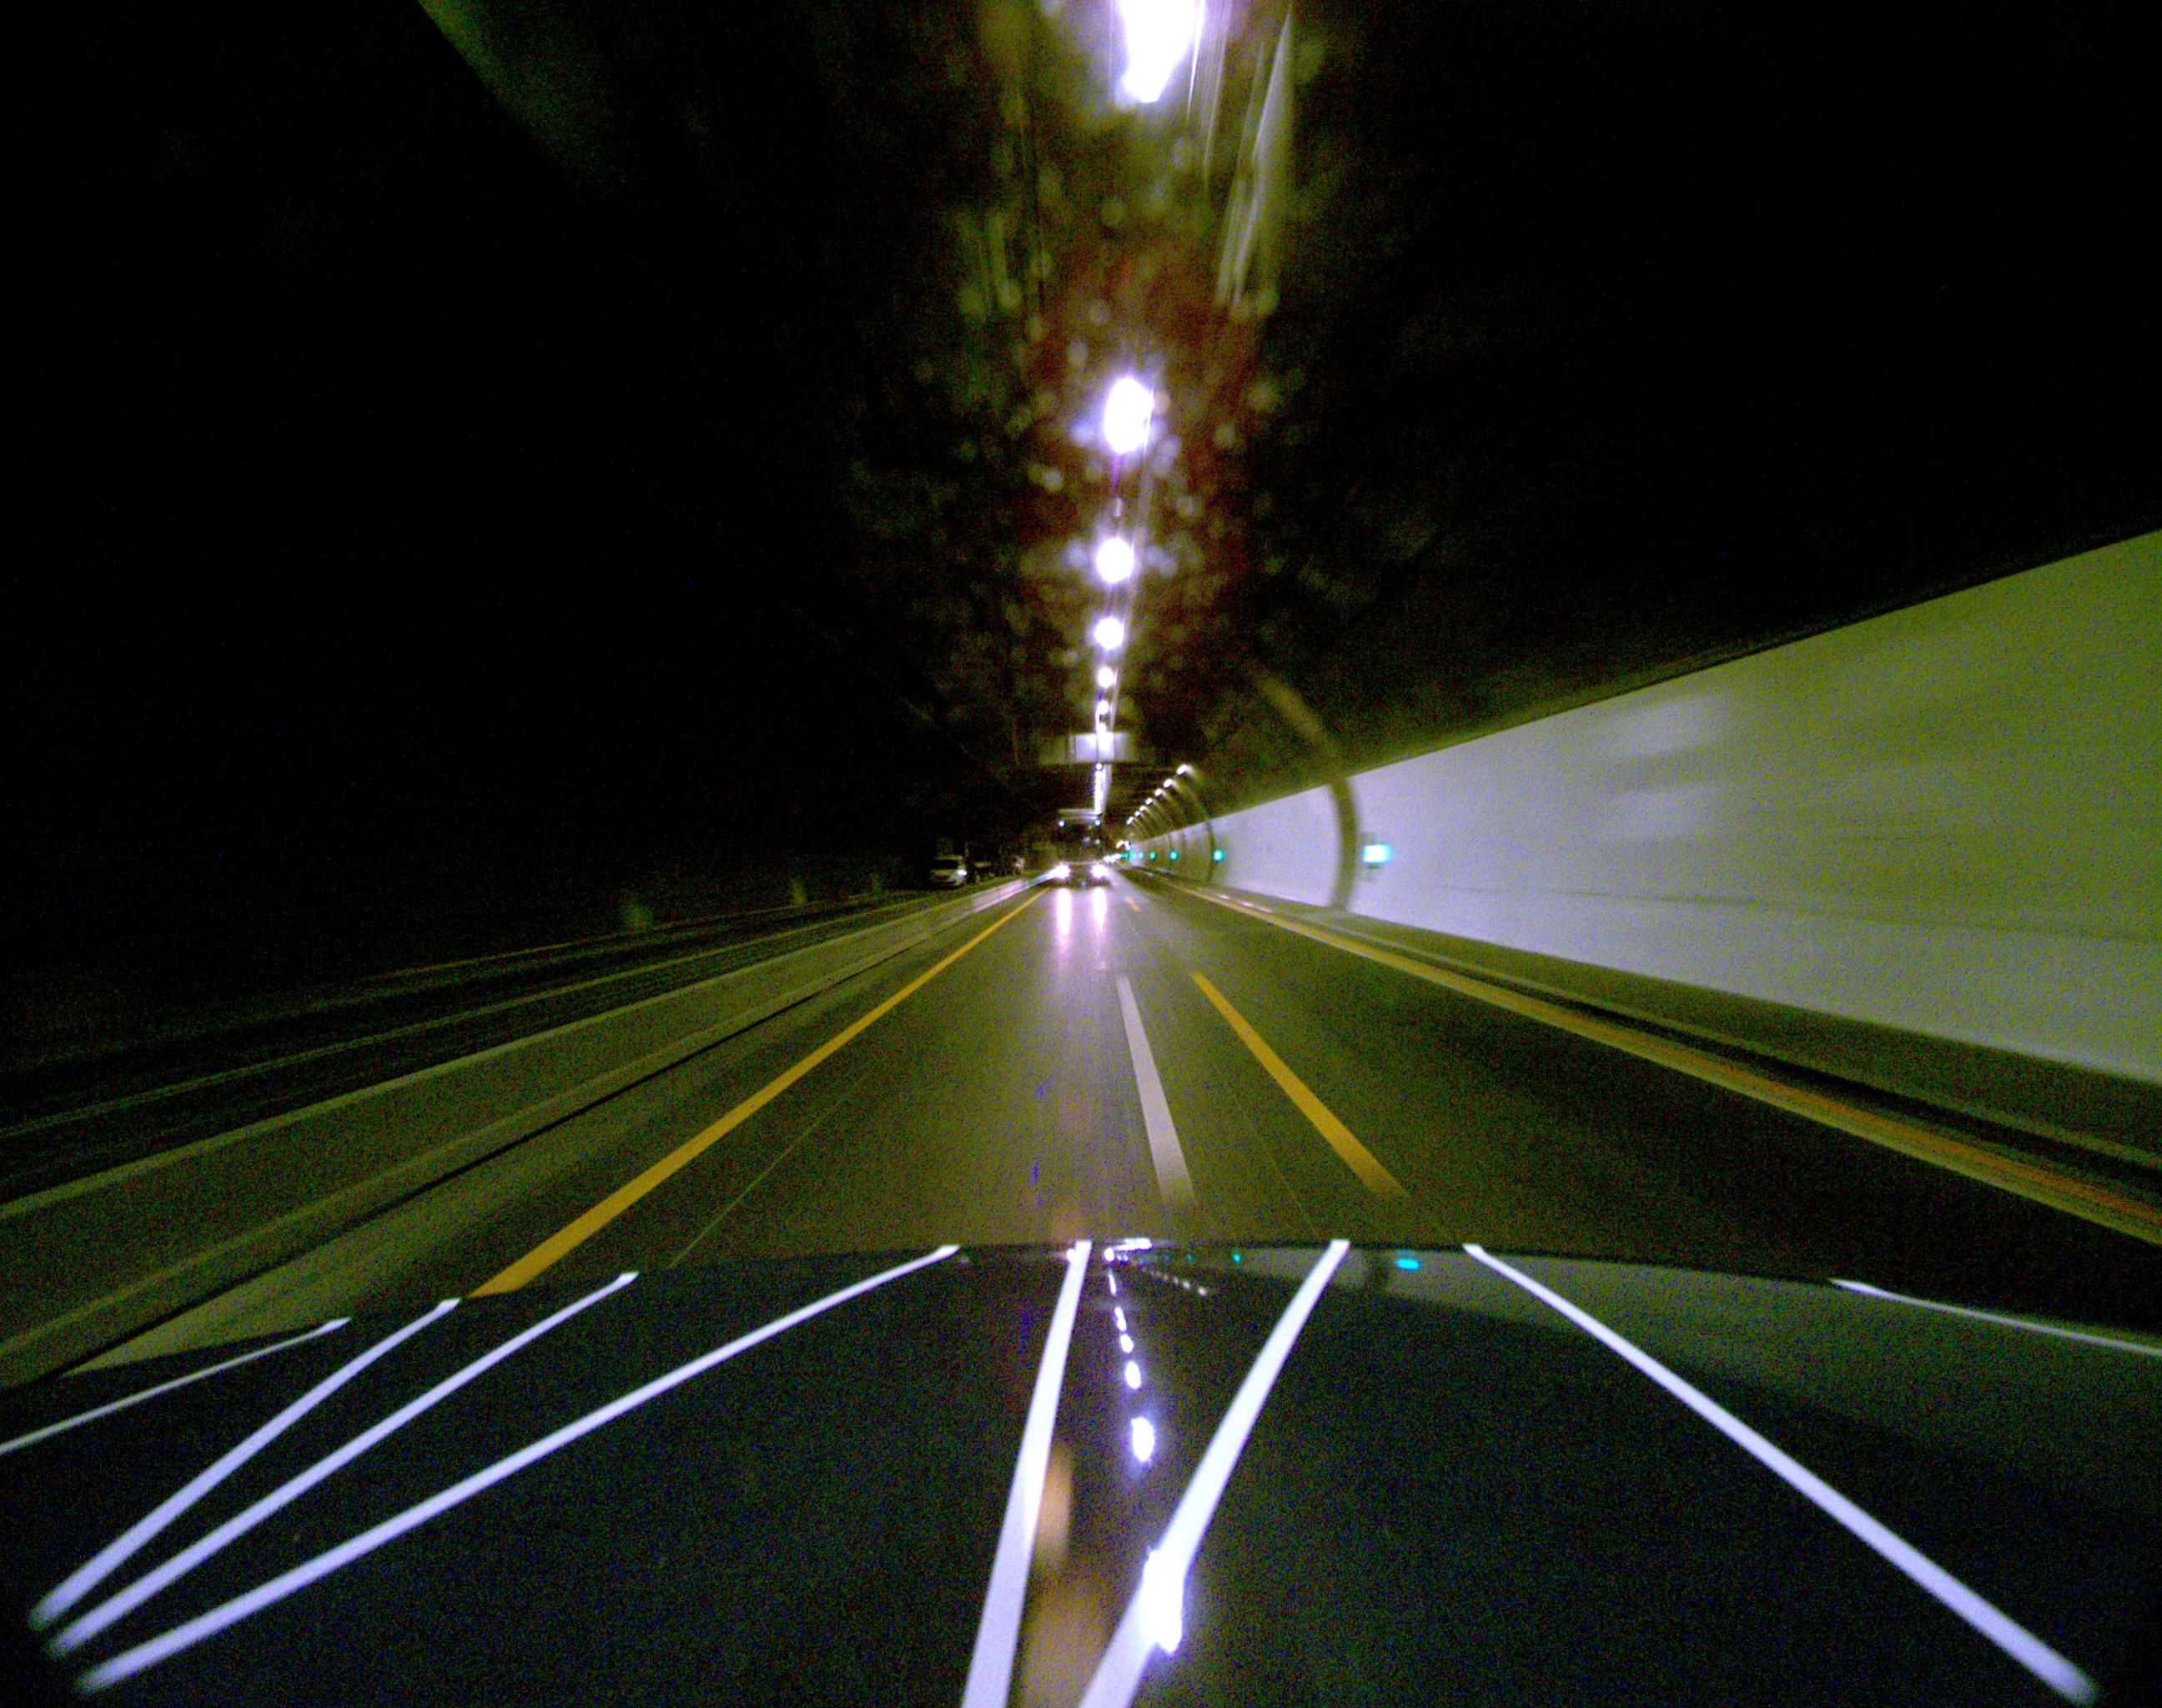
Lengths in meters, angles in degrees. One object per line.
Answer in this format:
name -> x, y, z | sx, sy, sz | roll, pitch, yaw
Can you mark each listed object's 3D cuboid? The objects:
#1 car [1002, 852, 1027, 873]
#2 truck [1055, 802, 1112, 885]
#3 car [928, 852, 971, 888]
car -> -6.311, 0.741, 72.494 | 1.832, 1.848, 5.441 | -3, 0, 0
truck -> 0.215, -0.575, 42.827 | 2.769, 4.198, 7.977 | -2, 1, 1
car -> -7.293, 0.829, 42.463 | 1.756, 1.834, 4.644 | -2, 0, -3
